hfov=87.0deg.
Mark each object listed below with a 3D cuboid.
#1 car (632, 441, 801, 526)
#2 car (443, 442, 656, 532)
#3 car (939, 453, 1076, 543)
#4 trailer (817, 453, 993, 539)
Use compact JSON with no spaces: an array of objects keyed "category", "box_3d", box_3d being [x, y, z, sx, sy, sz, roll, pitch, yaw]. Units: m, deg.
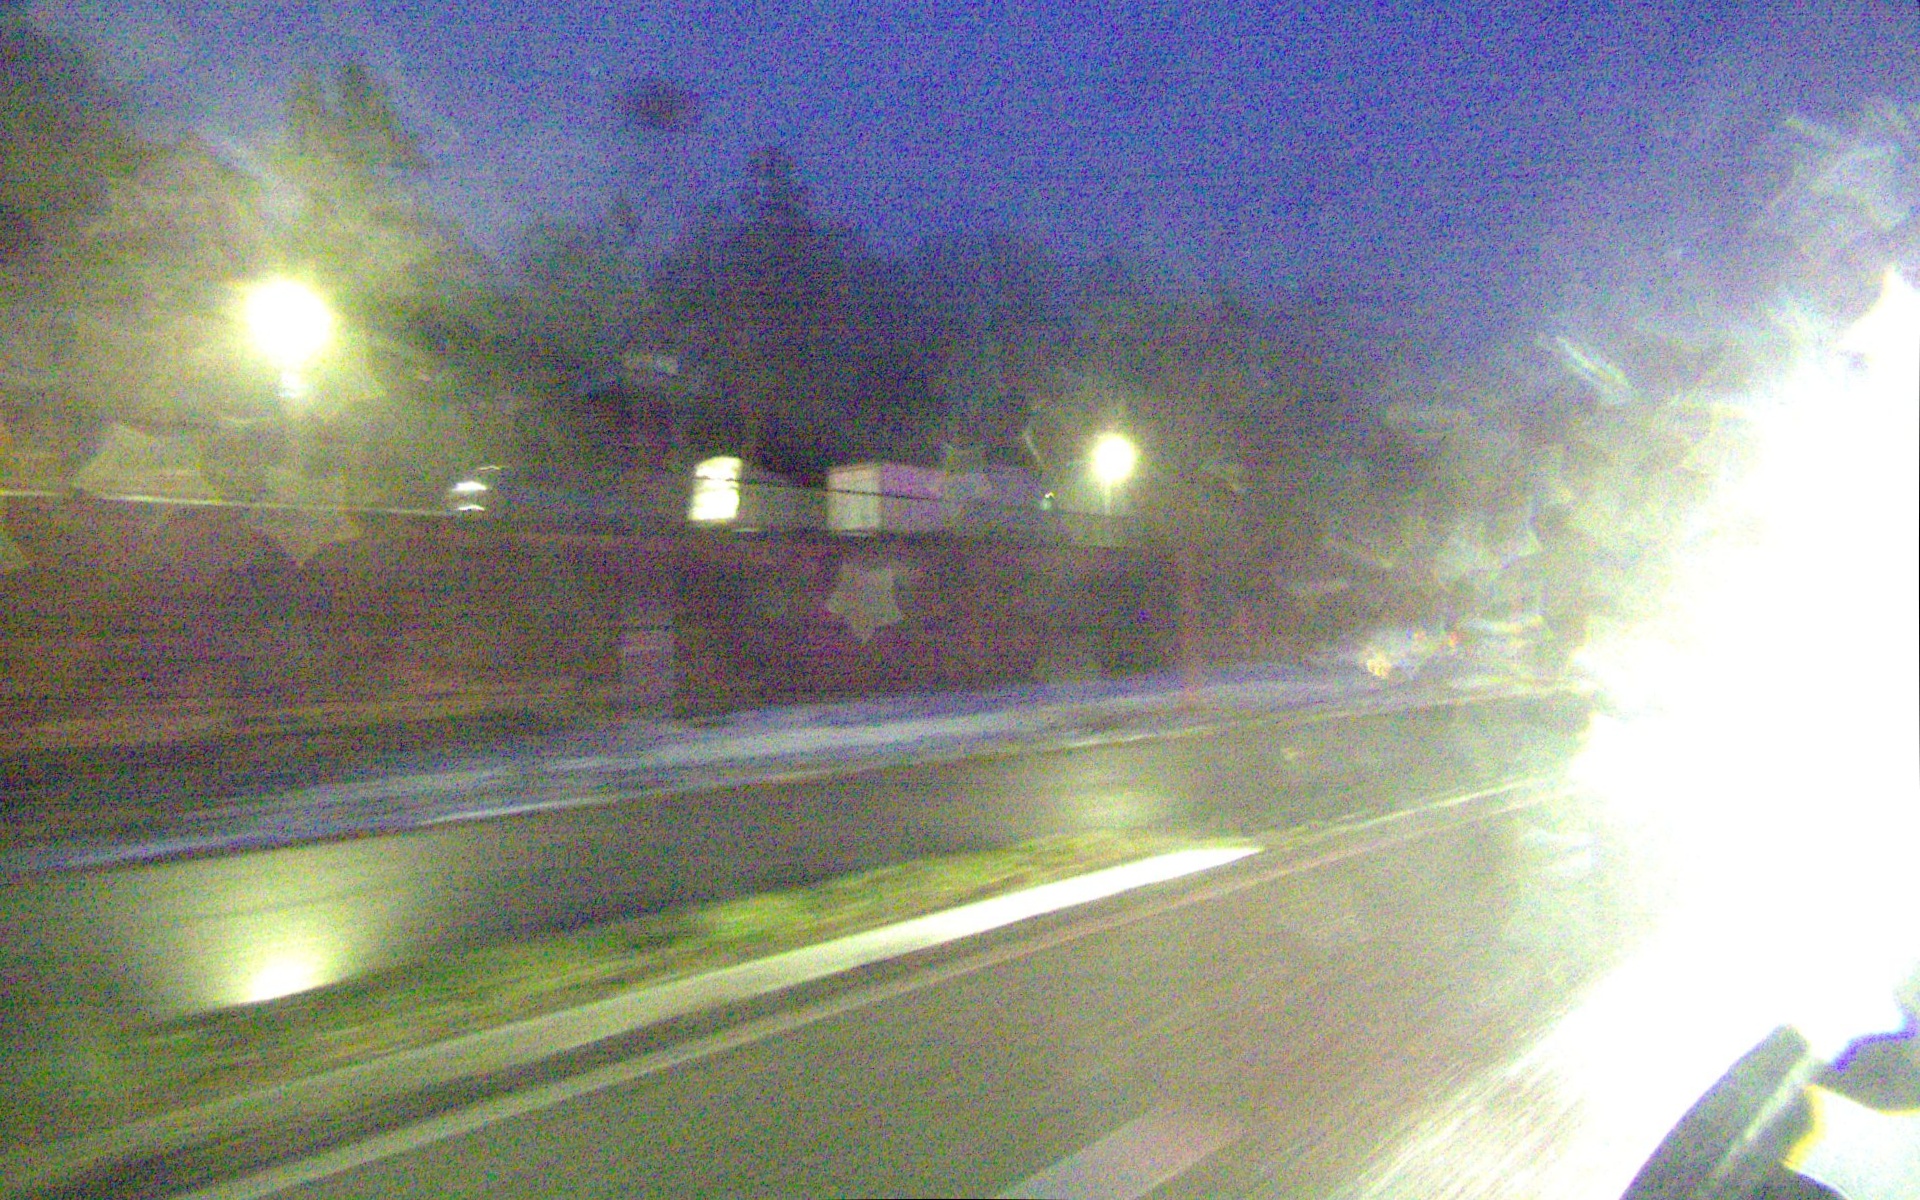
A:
[{"category":"car","box_3d":[-5.875,-2.762,24.807,1.608,1.660,3.949,0,1,36]},{"category":"car","box_3d":[-8.554,-2.297,21.372,1.608,1.491,3.949,0,1,36]},{"category":"car","box_3d":[1.755,-3.439,35.311,2.110,2.668,5.376,1,1,38]},{"category":"trailer","box_3d":[-1.552,-3.055,30.925,2.221,2.097,5.643,1,1,38]}]
